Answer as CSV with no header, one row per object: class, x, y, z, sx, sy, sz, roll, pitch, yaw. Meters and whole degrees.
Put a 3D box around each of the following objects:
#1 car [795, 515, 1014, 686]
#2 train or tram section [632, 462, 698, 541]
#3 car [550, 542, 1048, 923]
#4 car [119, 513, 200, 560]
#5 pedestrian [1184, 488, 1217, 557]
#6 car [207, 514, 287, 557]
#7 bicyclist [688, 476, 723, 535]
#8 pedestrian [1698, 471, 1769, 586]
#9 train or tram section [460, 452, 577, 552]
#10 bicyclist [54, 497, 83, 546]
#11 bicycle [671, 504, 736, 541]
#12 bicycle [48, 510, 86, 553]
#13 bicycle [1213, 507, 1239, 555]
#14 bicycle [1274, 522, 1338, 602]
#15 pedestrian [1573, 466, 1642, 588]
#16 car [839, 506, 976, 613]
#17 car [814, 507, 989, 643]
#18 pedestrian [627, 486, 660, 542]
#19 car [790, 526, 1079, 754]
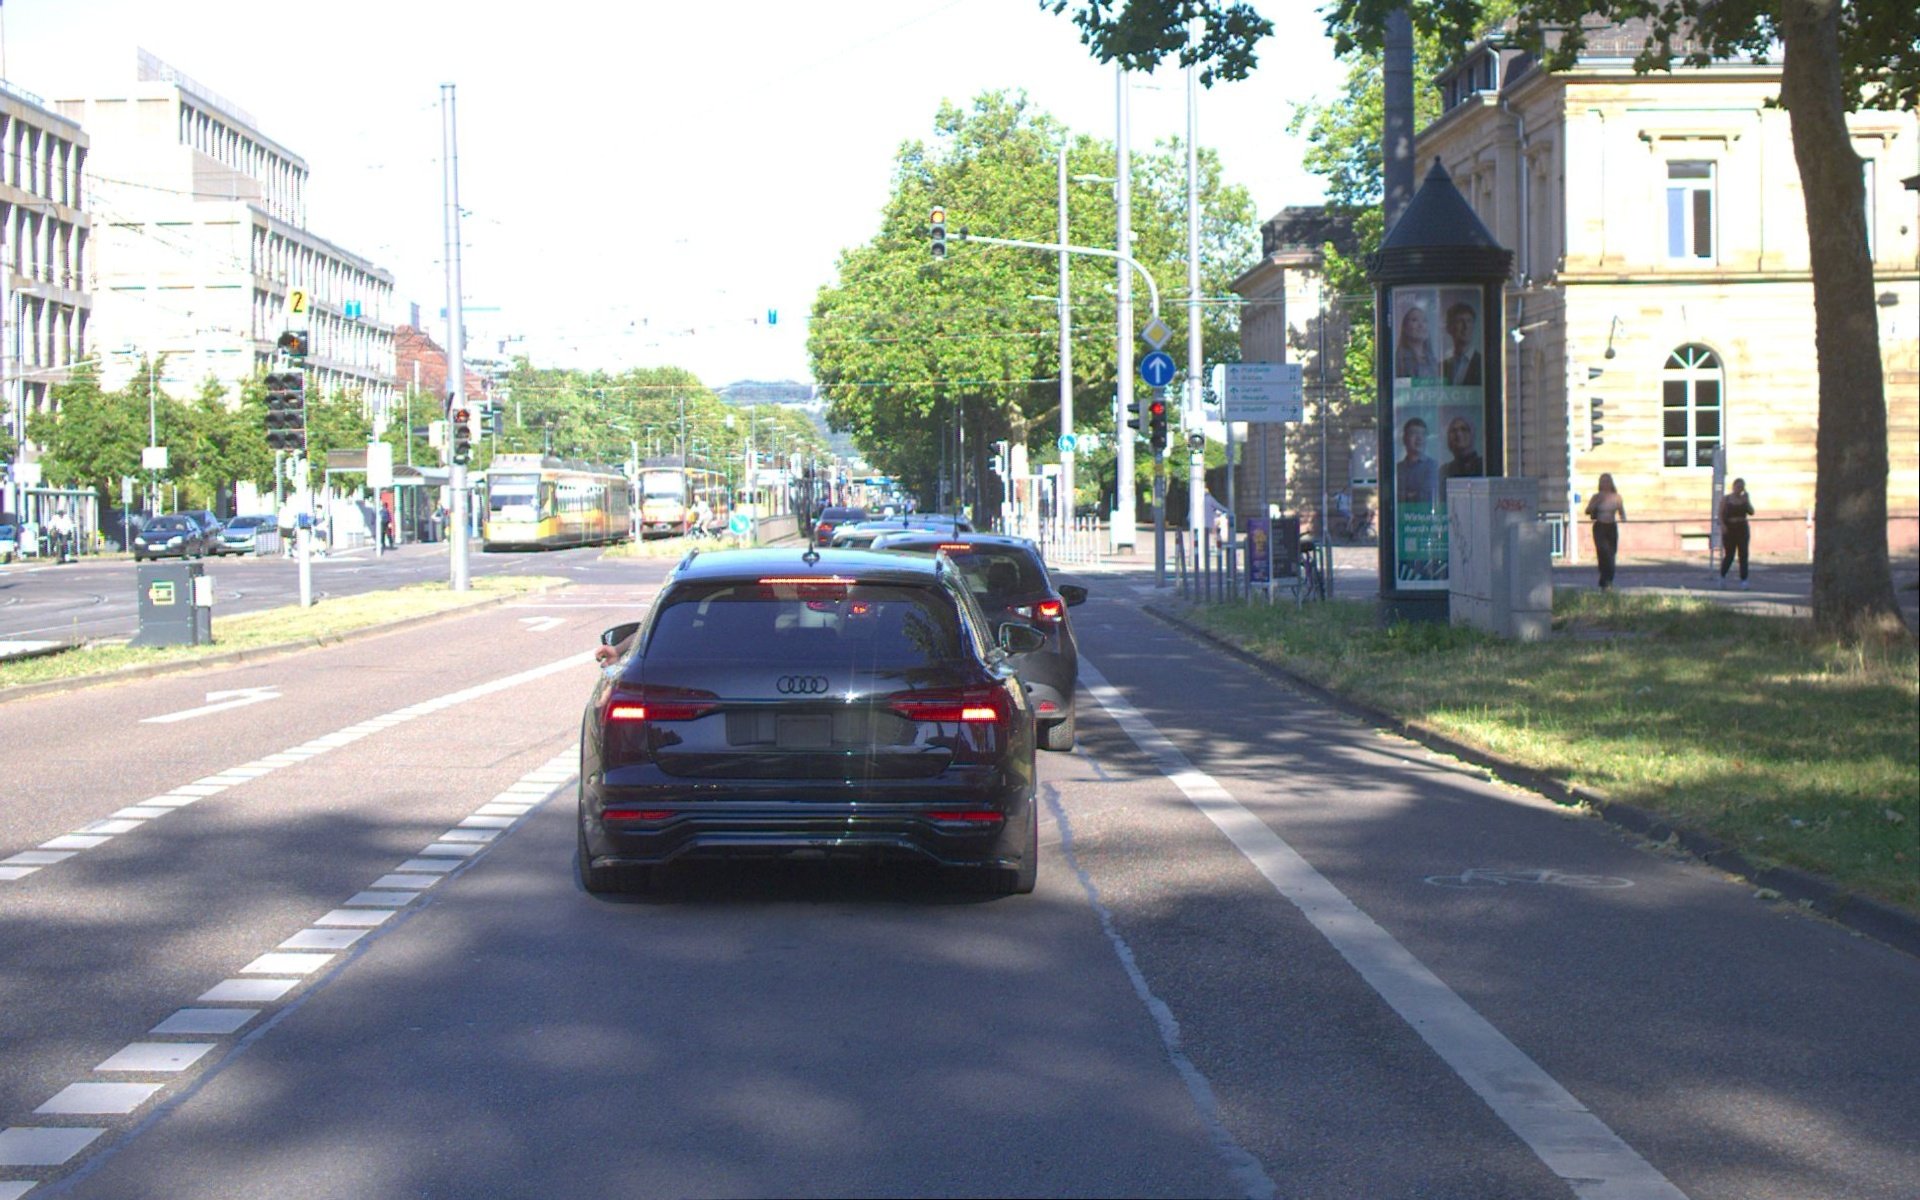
car,-0.508,-0.050,32.098,1.902,1.481,4.145,0,1,-1
train or tram section,-13.505,-4.542,158.037,2.608,3.439,11.134,-1,2,-3
car,-0.644,0.476,15.264,1.902,1.417,4.145,0,1,-1
car,-25.799,-2.052,110.904,1.819,1.452,4.167,-1,2,-3
pedestrian,5.803,-1.866,83.028,0.682,1.655,0.758,-1,2,-3
car,-25.312,-2.322,122.215,1.820,1.452,4.541,-1,2,1
bicyclist,-7.901,-2.927,106.743,0.764,1.812,0.757,1,2,43
pedestrian,10.970,-1.020,48.808,0.769,1.600,0.986,-1,1,0
train or tram section,-16.279,-3.639,127.658,2.813,3.477,13.205,-1,2,-1
bicyclist,-28.592,-2.527,110.280,0.685,1.557,0.785,-1,1,0
bicycle,-7.957,-2.406,106.690,0.764,1.104,2.007,1,2,43
bicycle,-28.655,-2.205,110.306,0.685,1.377,1.947,-1,1,0
bicycle,6.429,-1.663,83.067,0.434,1.141,1.340,-1,2,-3
bicycle,4.682,-0.526,46.613,0.540,1.058,1.772,-1,2,-5
pedestrian,9.233,-1.046,49.011,0.769,1.703,1.042,-1,1,0
car,-0.752,-0.621,50.090,1.902,1.481,4.145,0,1,-1
car,-0.664,-0.322,39.725,1.902,1.481,4.145,0,1,-1
pedestrian,-9.849,-2.680,107.057,0.740,1.735,0.663,-2,2,-39
car,-0.193,0.221,24.759,1.902,1.481,4.145,0,1,-1
